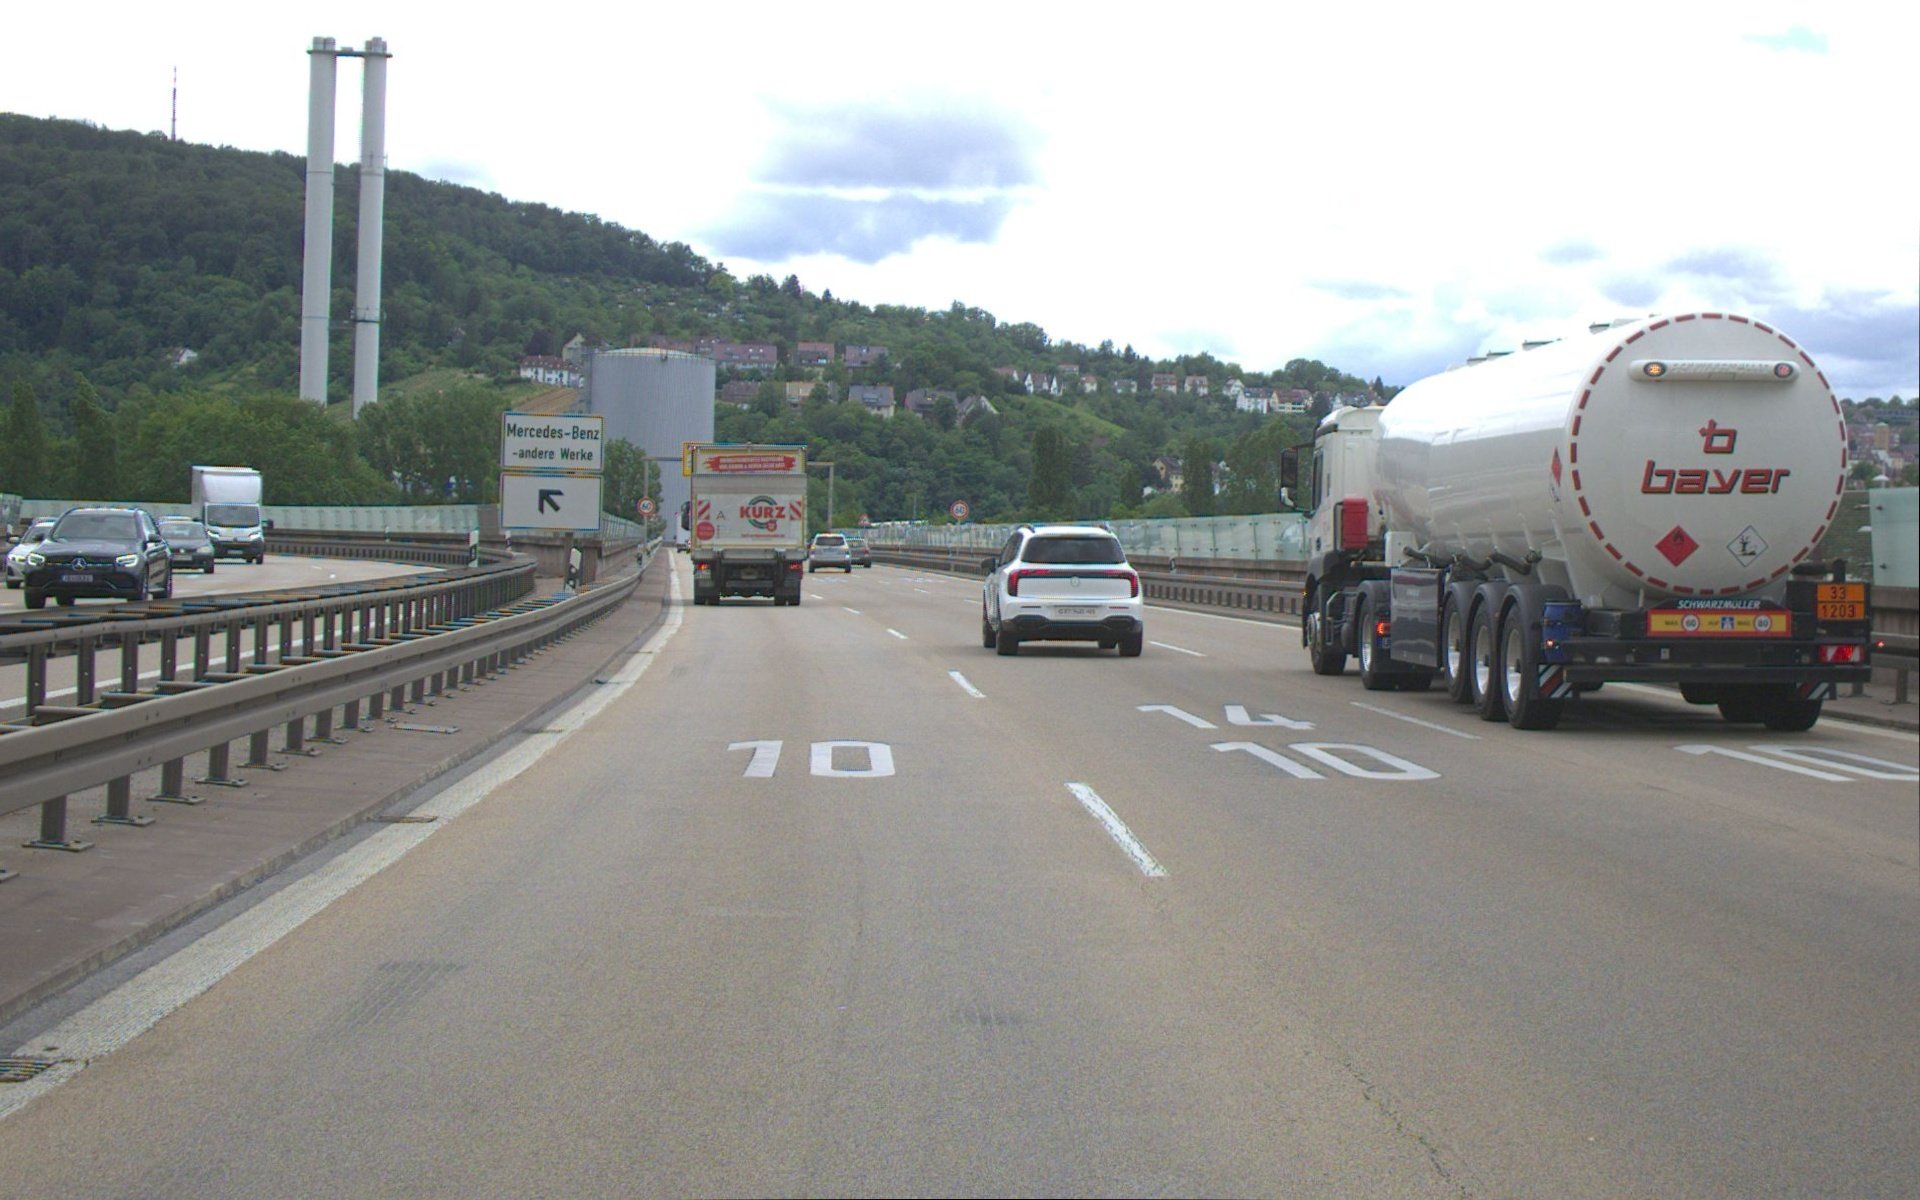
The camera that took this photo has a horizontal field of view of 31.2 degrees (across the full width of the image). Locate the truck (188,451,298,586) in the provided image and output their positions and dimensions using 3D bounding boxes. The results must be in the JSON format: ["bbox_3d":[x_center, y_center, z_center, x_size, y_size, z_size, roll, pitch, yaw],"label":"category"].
[{"bbox_3d":[-25.097,-2.810,120.640,3.056,4.546,8.305,1,1,-7],"label":"truck"}]

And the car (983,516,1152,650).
[{"bbox_3d":[1.369,-0.234,45.504,1.993,1.669,4.408,1,1,-1],"label":"car"}]

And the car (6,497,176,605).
[{"bbox_3d":[-14.194,-0.793,56.349,1.993,1.669,4.409,1,1,-5],"label":"car"}]

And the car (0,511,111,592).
[{"bbox_3d":[-19.713,-1.037,74.214,1.993,1.669,4.409,1,1,-5],"label":"car"}]

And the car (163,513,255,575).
[{"bbox_3d":[-20.796,-1.535,95.301,1.993,1.669,4.409,1,1,-6],"label":"car"}]

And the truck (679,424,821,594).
[{"bbox_3d":[-4.839,-2.028,79.181,3.056,3.678,8.305,1,1,-4],"label":"truck"}]

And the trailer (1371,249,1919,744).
[{"bbox_3d":[5.952,-0.840,30.614,3.056,3.777,8.305,1,1,-4],"label":"trailer"}]

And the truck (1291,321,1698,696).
[{"bbox_3d":[5.559,-0.927,36.925,3.014,3.644,6.274,1,0,-3],"label":"truck"}]
